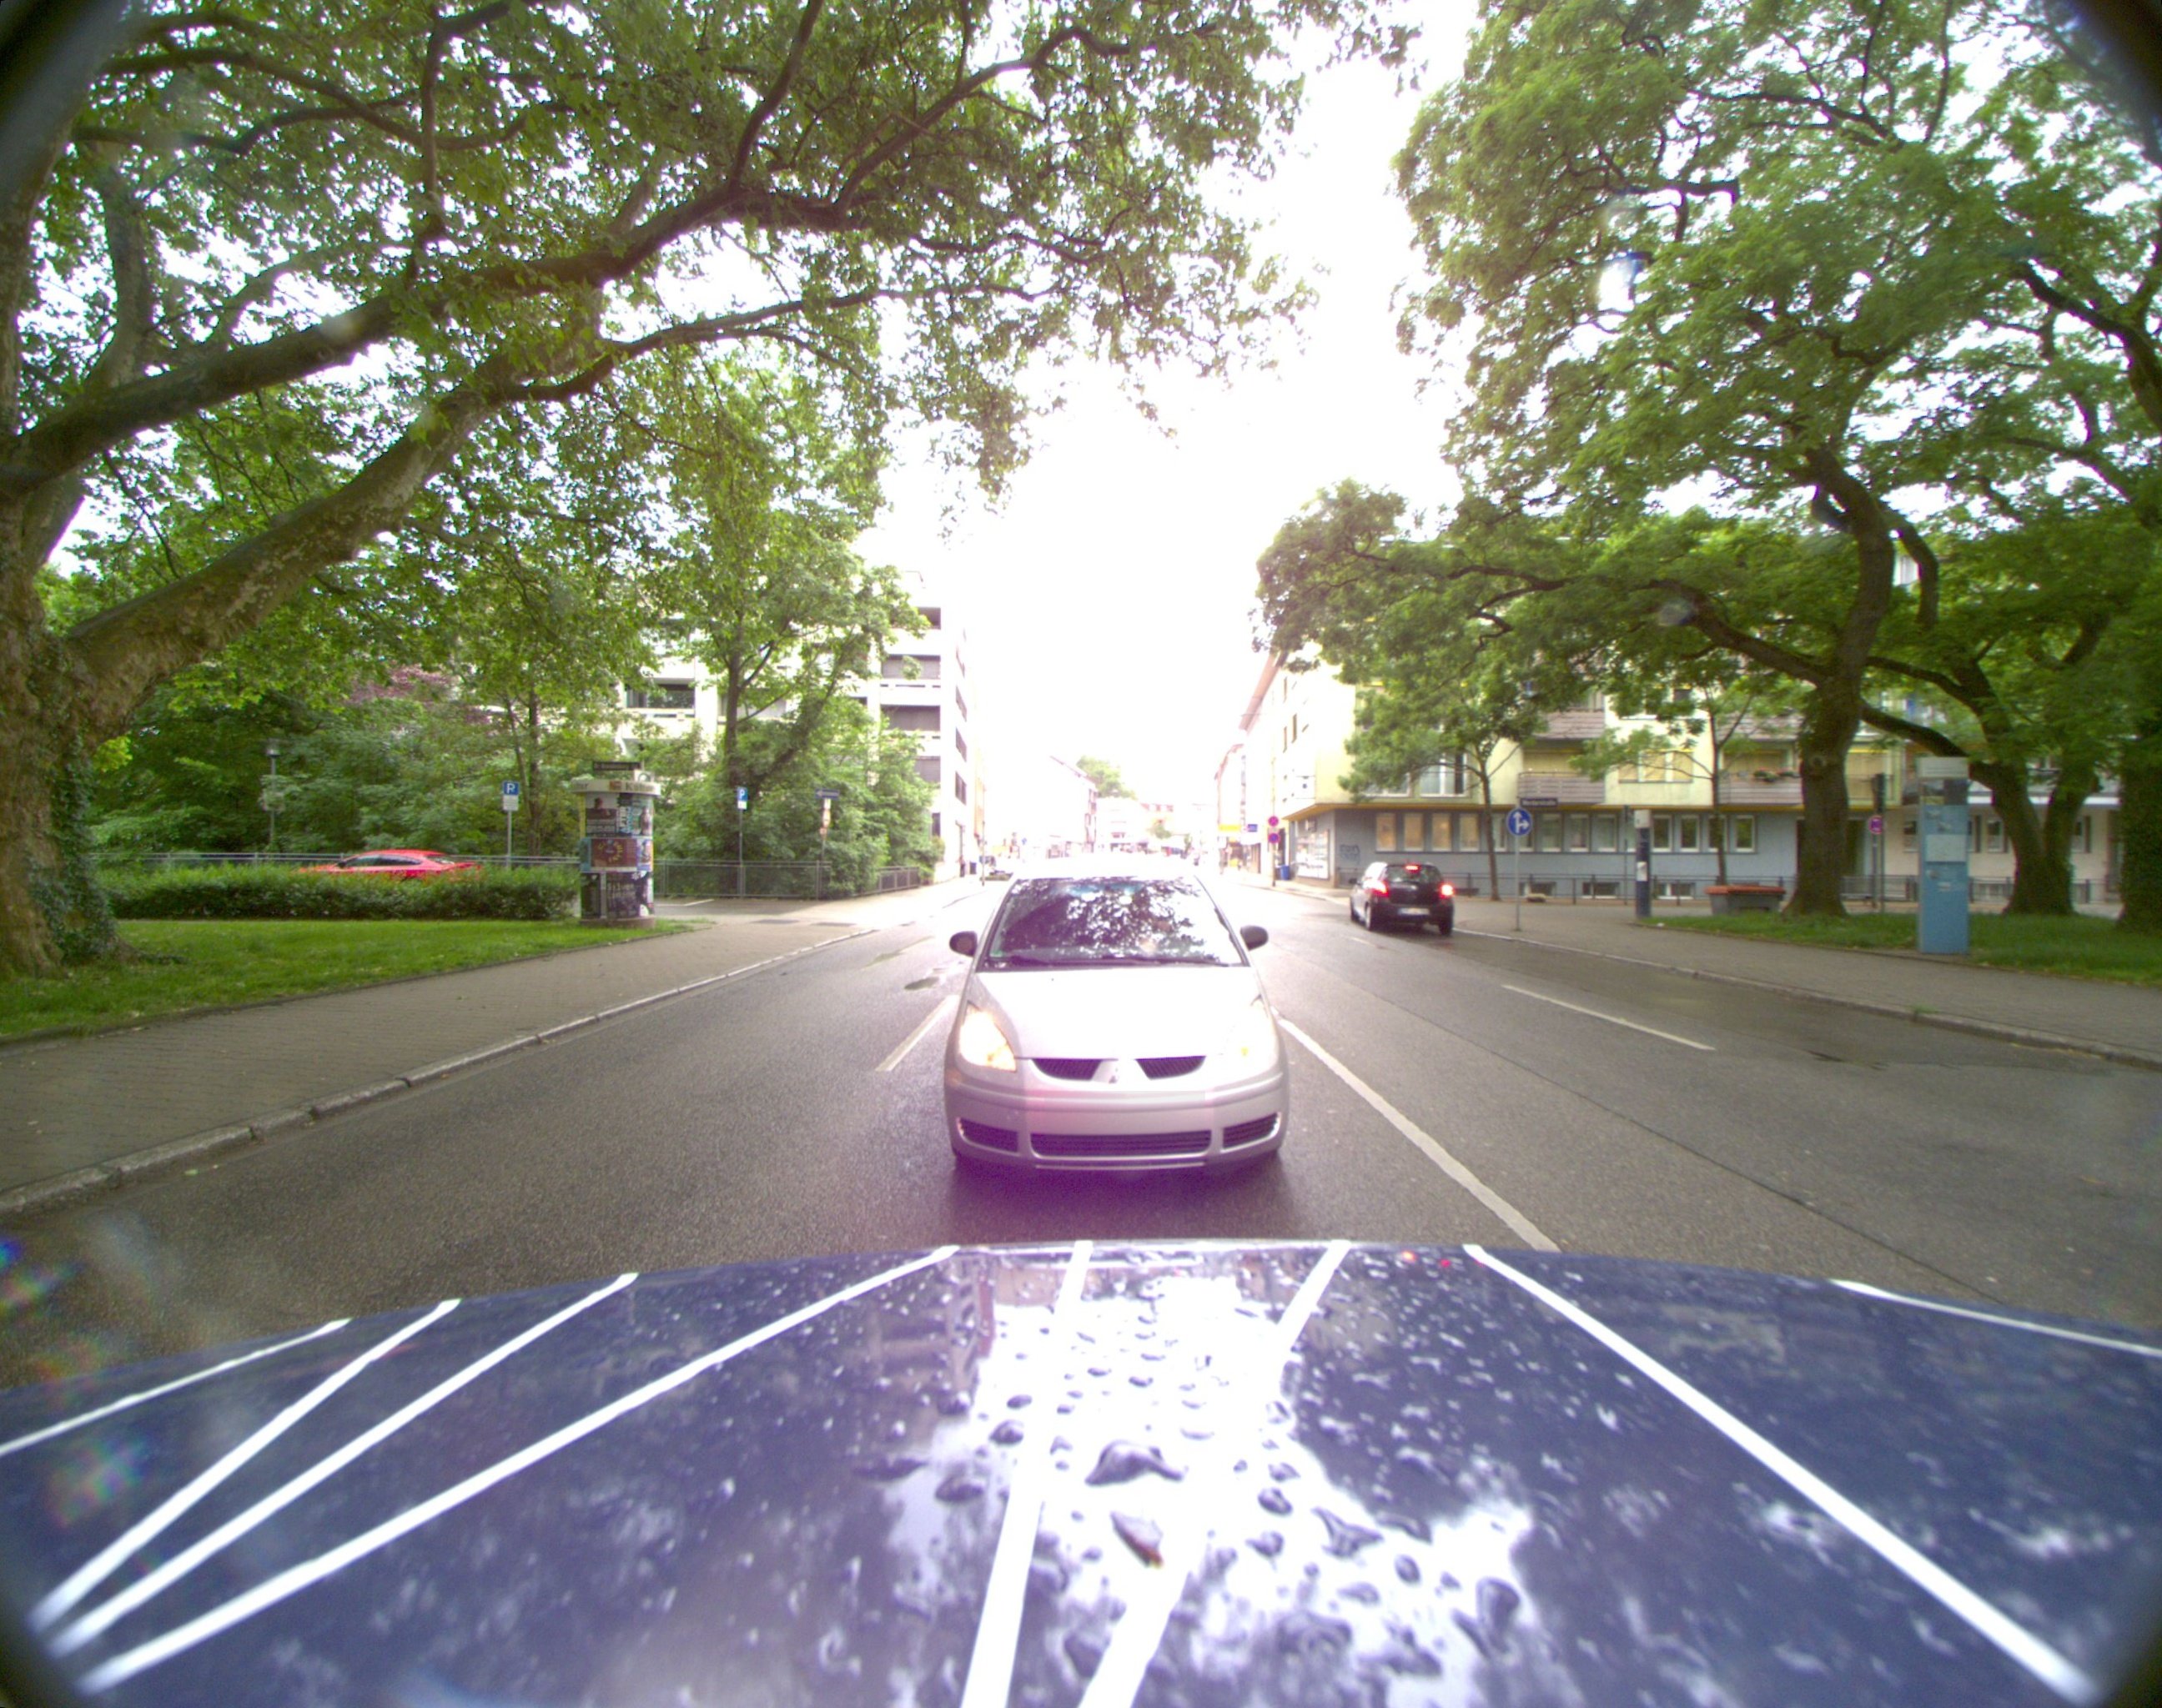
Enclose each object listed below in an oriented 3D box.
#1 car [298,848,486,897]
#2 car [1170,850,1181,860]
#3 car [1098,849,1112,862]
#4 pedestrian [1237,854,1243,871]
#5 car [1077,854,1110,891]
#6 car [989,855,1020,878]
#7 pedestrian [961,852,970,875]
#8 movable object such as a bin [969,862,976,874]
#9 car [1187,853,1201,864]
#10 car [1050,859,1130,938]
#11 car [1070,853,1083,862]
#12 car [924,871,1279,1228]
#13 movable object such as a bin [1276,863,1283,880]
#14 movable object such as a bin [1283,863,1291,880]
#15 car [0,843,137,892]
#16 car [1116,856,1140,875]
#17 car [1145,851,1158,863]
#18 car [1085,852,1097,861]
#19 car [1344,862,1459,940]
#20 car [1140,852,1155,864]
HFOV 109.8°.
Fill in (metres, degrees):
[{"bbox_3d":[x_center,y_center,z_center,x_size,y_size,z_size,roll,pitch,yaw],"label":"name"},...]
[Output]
[{"bbox_3d":[-19.430,0.514,21.547,3.790,1.271,1.576,1,1,-3],"label":"car"},{"bbox_3d":[16.676,0.191,134.326,1.867,1.648,4.001,1,0,4],"label":"car"},{"bbox_3d":[3.501,0.198,112.477,1.935,1.817,3.999,-2,1,0],"label":"car"},{"bbox_3d":[17.597,0.900,84.024,0.594,1.833,0.565,1,1,8],"label":"pedestrian"},{"bbox_3d":[0.593,0.882,38.083,1.584,1.705,3.649,1,0,0],"label":"car"},{"bbox_3d":[-5.322,0.857,53.503,1.681,1.424,3.681,3,0,1],"label":"car"},{"bbox_3d":[-7.975,0.665,52.629,0.480,1.521,0.481,-2,1,1],"label":"pedestrian"},{"bbox_3d":[-9.002,1.162,62.929,0.556,1.035,0.292,1,1,0],"label":"movable object such as a bin"},{"bbox_3d":[18.044,0.703,121.361,1.889,1.707,4.001,1,0,4],"label":"car"},{"bbox_3d":[0.256,0.916,17.223,1.590,1.540,3.771,1,0,2],"label":"car"},{"bbox_3d":[-0.687,0.511,113.382,1.802,1.433,3.896,1,0,0],"label":"car"},{"bbox_3d":[0.119,0.928,5.071,1.576,1.514,3.241,-1,0,1],"label":"car"},{"bbox_3d":[12.692,1.111,48.566,0.338,1.023,0.353,1,1,8],"label":"movable object such as a bin"},{"bbox_3d":[13.066,1.098,48.205,0.415,1.023,0.353,1,1,8],"label":"movable object such as a bin"},{"bbox_3d":[-29.073,0.364,21.188,3.468,1.271,1.448,1,1,-5],"label":"car"},{"bbox_3d":[3.874,0.960,63.100,1.701,1.433,3.897,-3,0,1],"label":"car"},{"bbox_3d":[11.463,0.443,124.360,1.998,1.841,4.001,1,0,4],"label":"car"},{"bbox_3d":[1.565,0.356,120.010,1.802,1.433,3.897,1,0,1],"label":"car"},{"bbox_3d":[7.030,0.960,17.005,1.570,1.479,3.569,2,0,10],"label":"car"},{"bbox_3d":[9.551,0.563,109.426,1.998,1.631,4.001,1,0,4],"label":"car"}]
